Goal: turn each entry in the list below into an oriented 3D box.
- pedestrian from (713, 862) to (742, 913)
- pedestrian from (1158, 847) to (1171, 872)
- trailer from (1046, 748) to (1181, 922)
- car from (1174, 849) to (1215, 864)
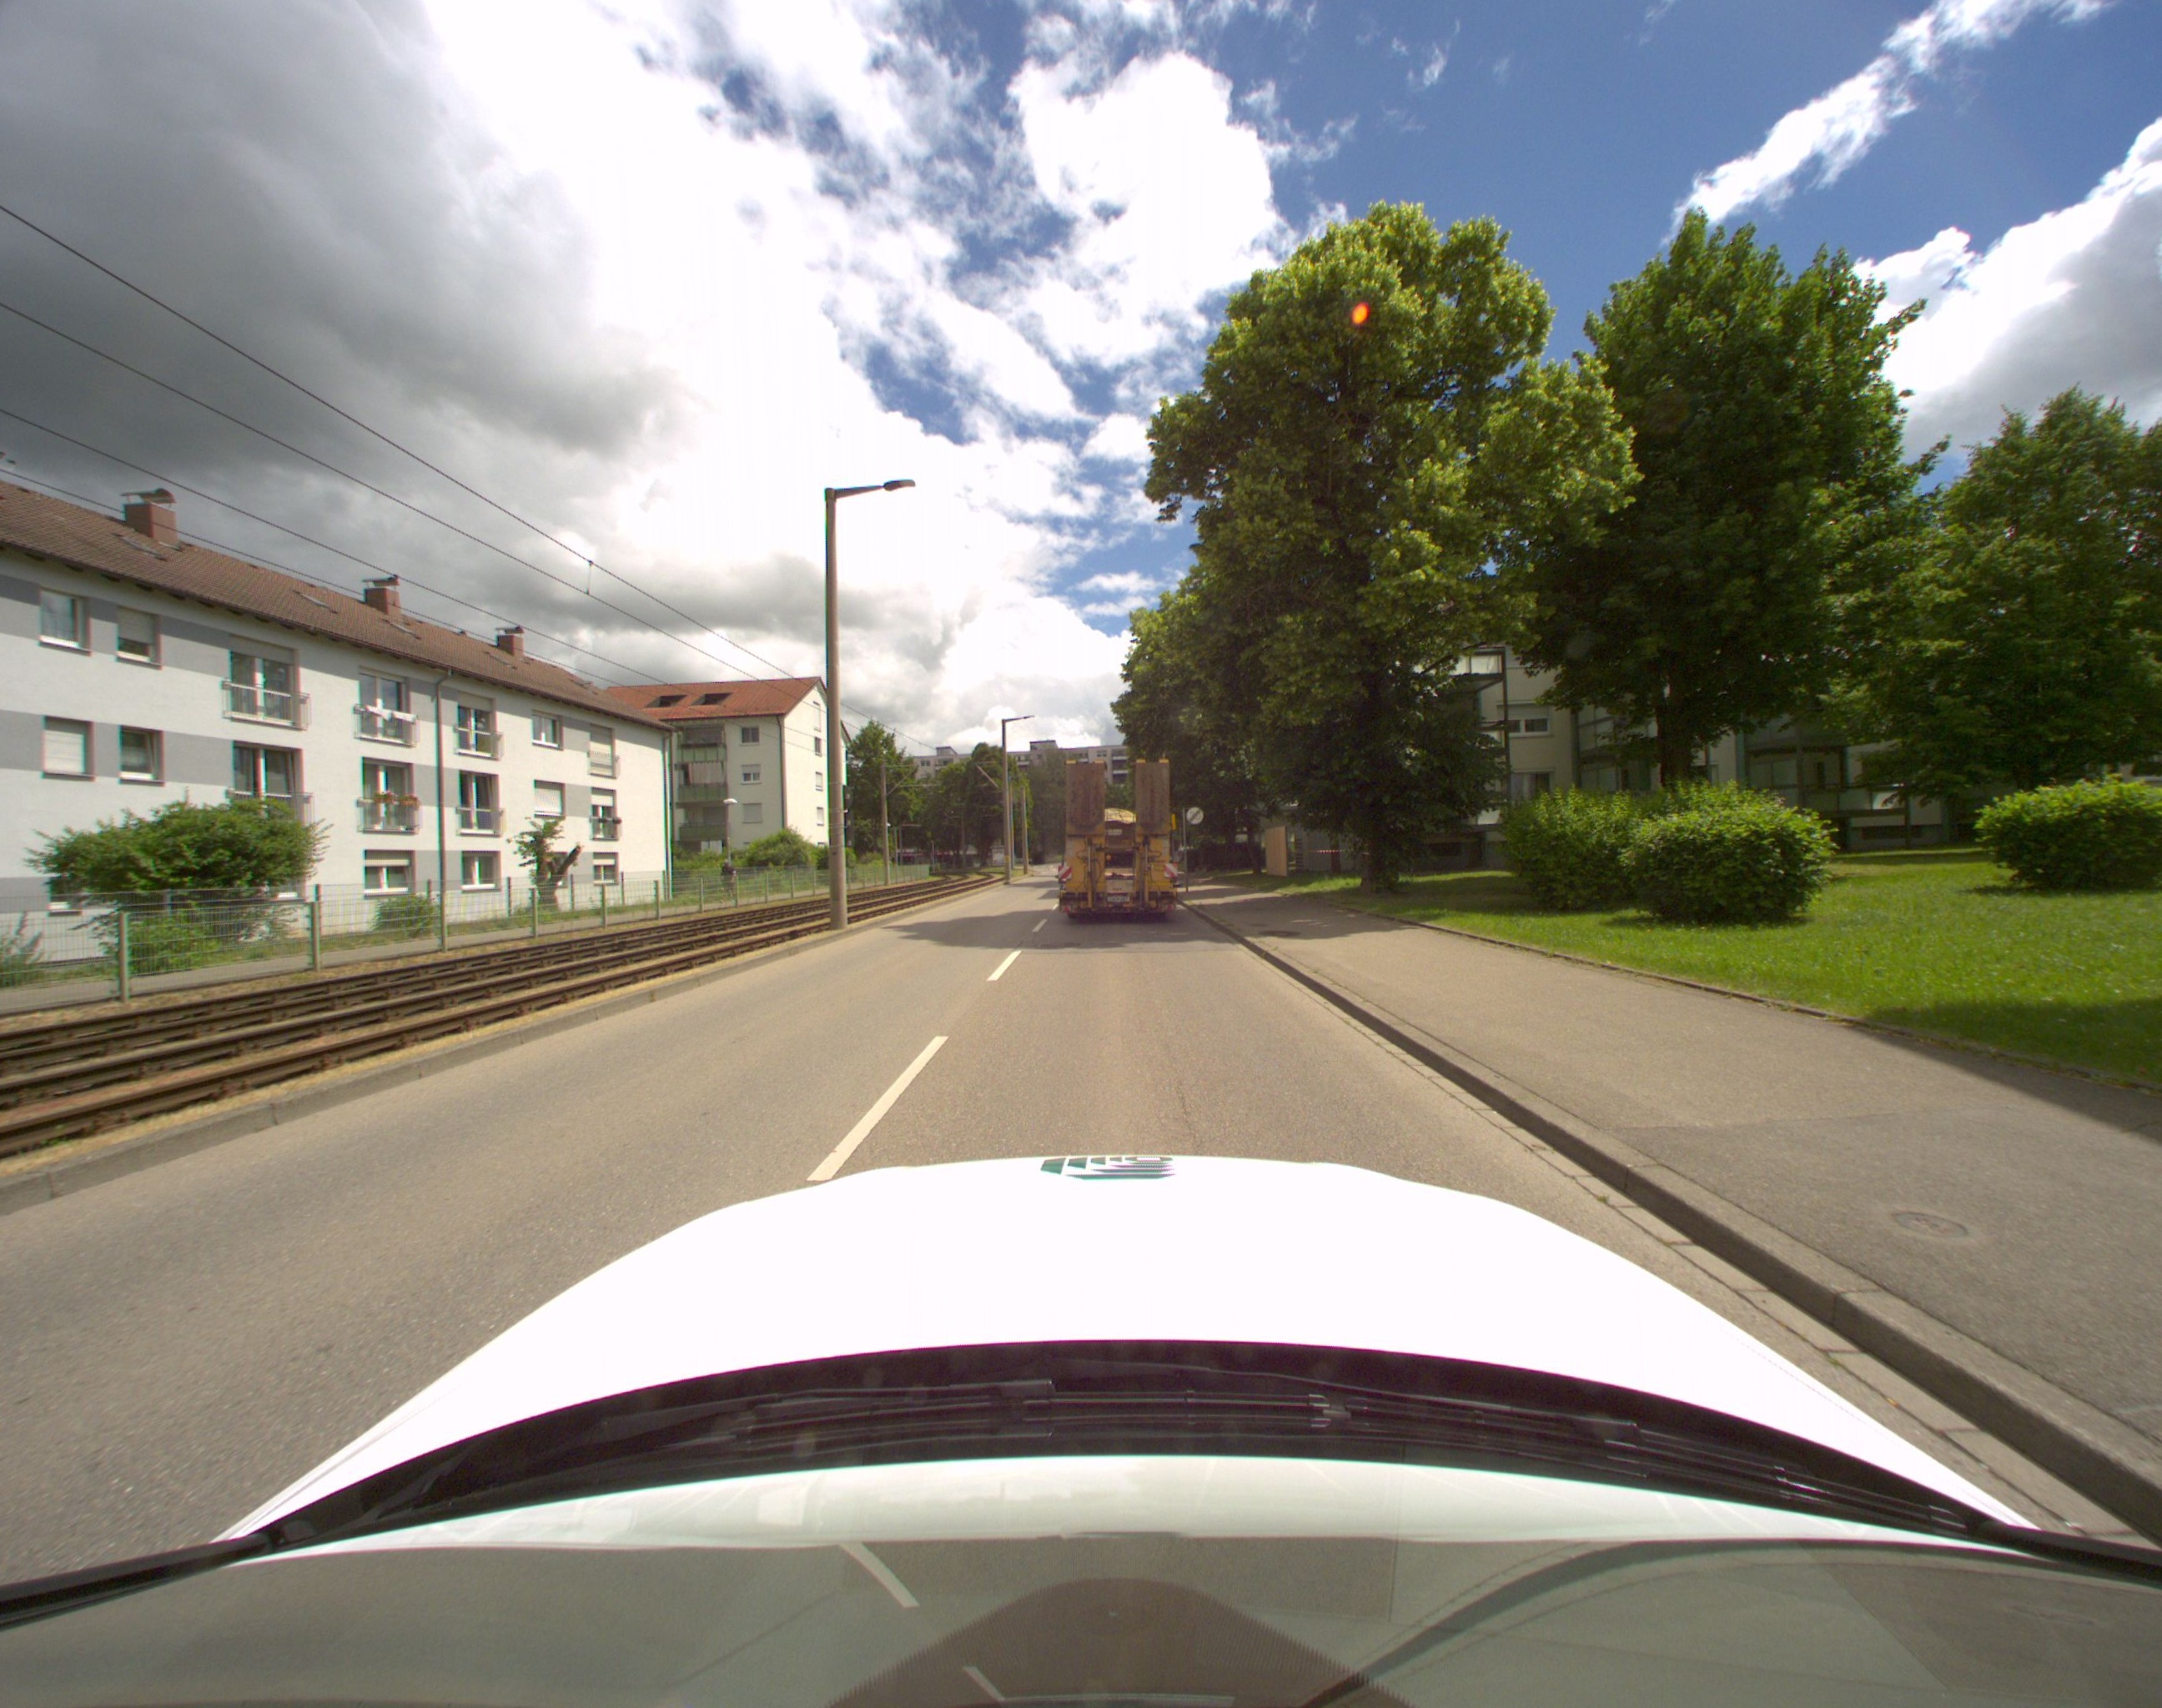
[{"bbox_3d":[-13.469,1.262,31.029,0.657,1.849,0.769,-3,0,1],"label":"pedestrian"},{"bbox_3d":[5.665,0.363,55.299,0.715,1.706,0.766,-3,0,1],"label":"pedestrian"},{"bbox_3d":[0.835,-0.411,23.382,2.817,3.646,12.357,-1,0,1],"label":"trailer"},{"bbox_3d":[12.015,0.248,86.484,3.988,1.561,1.753,-1,0,-11],"label":"car"}]
